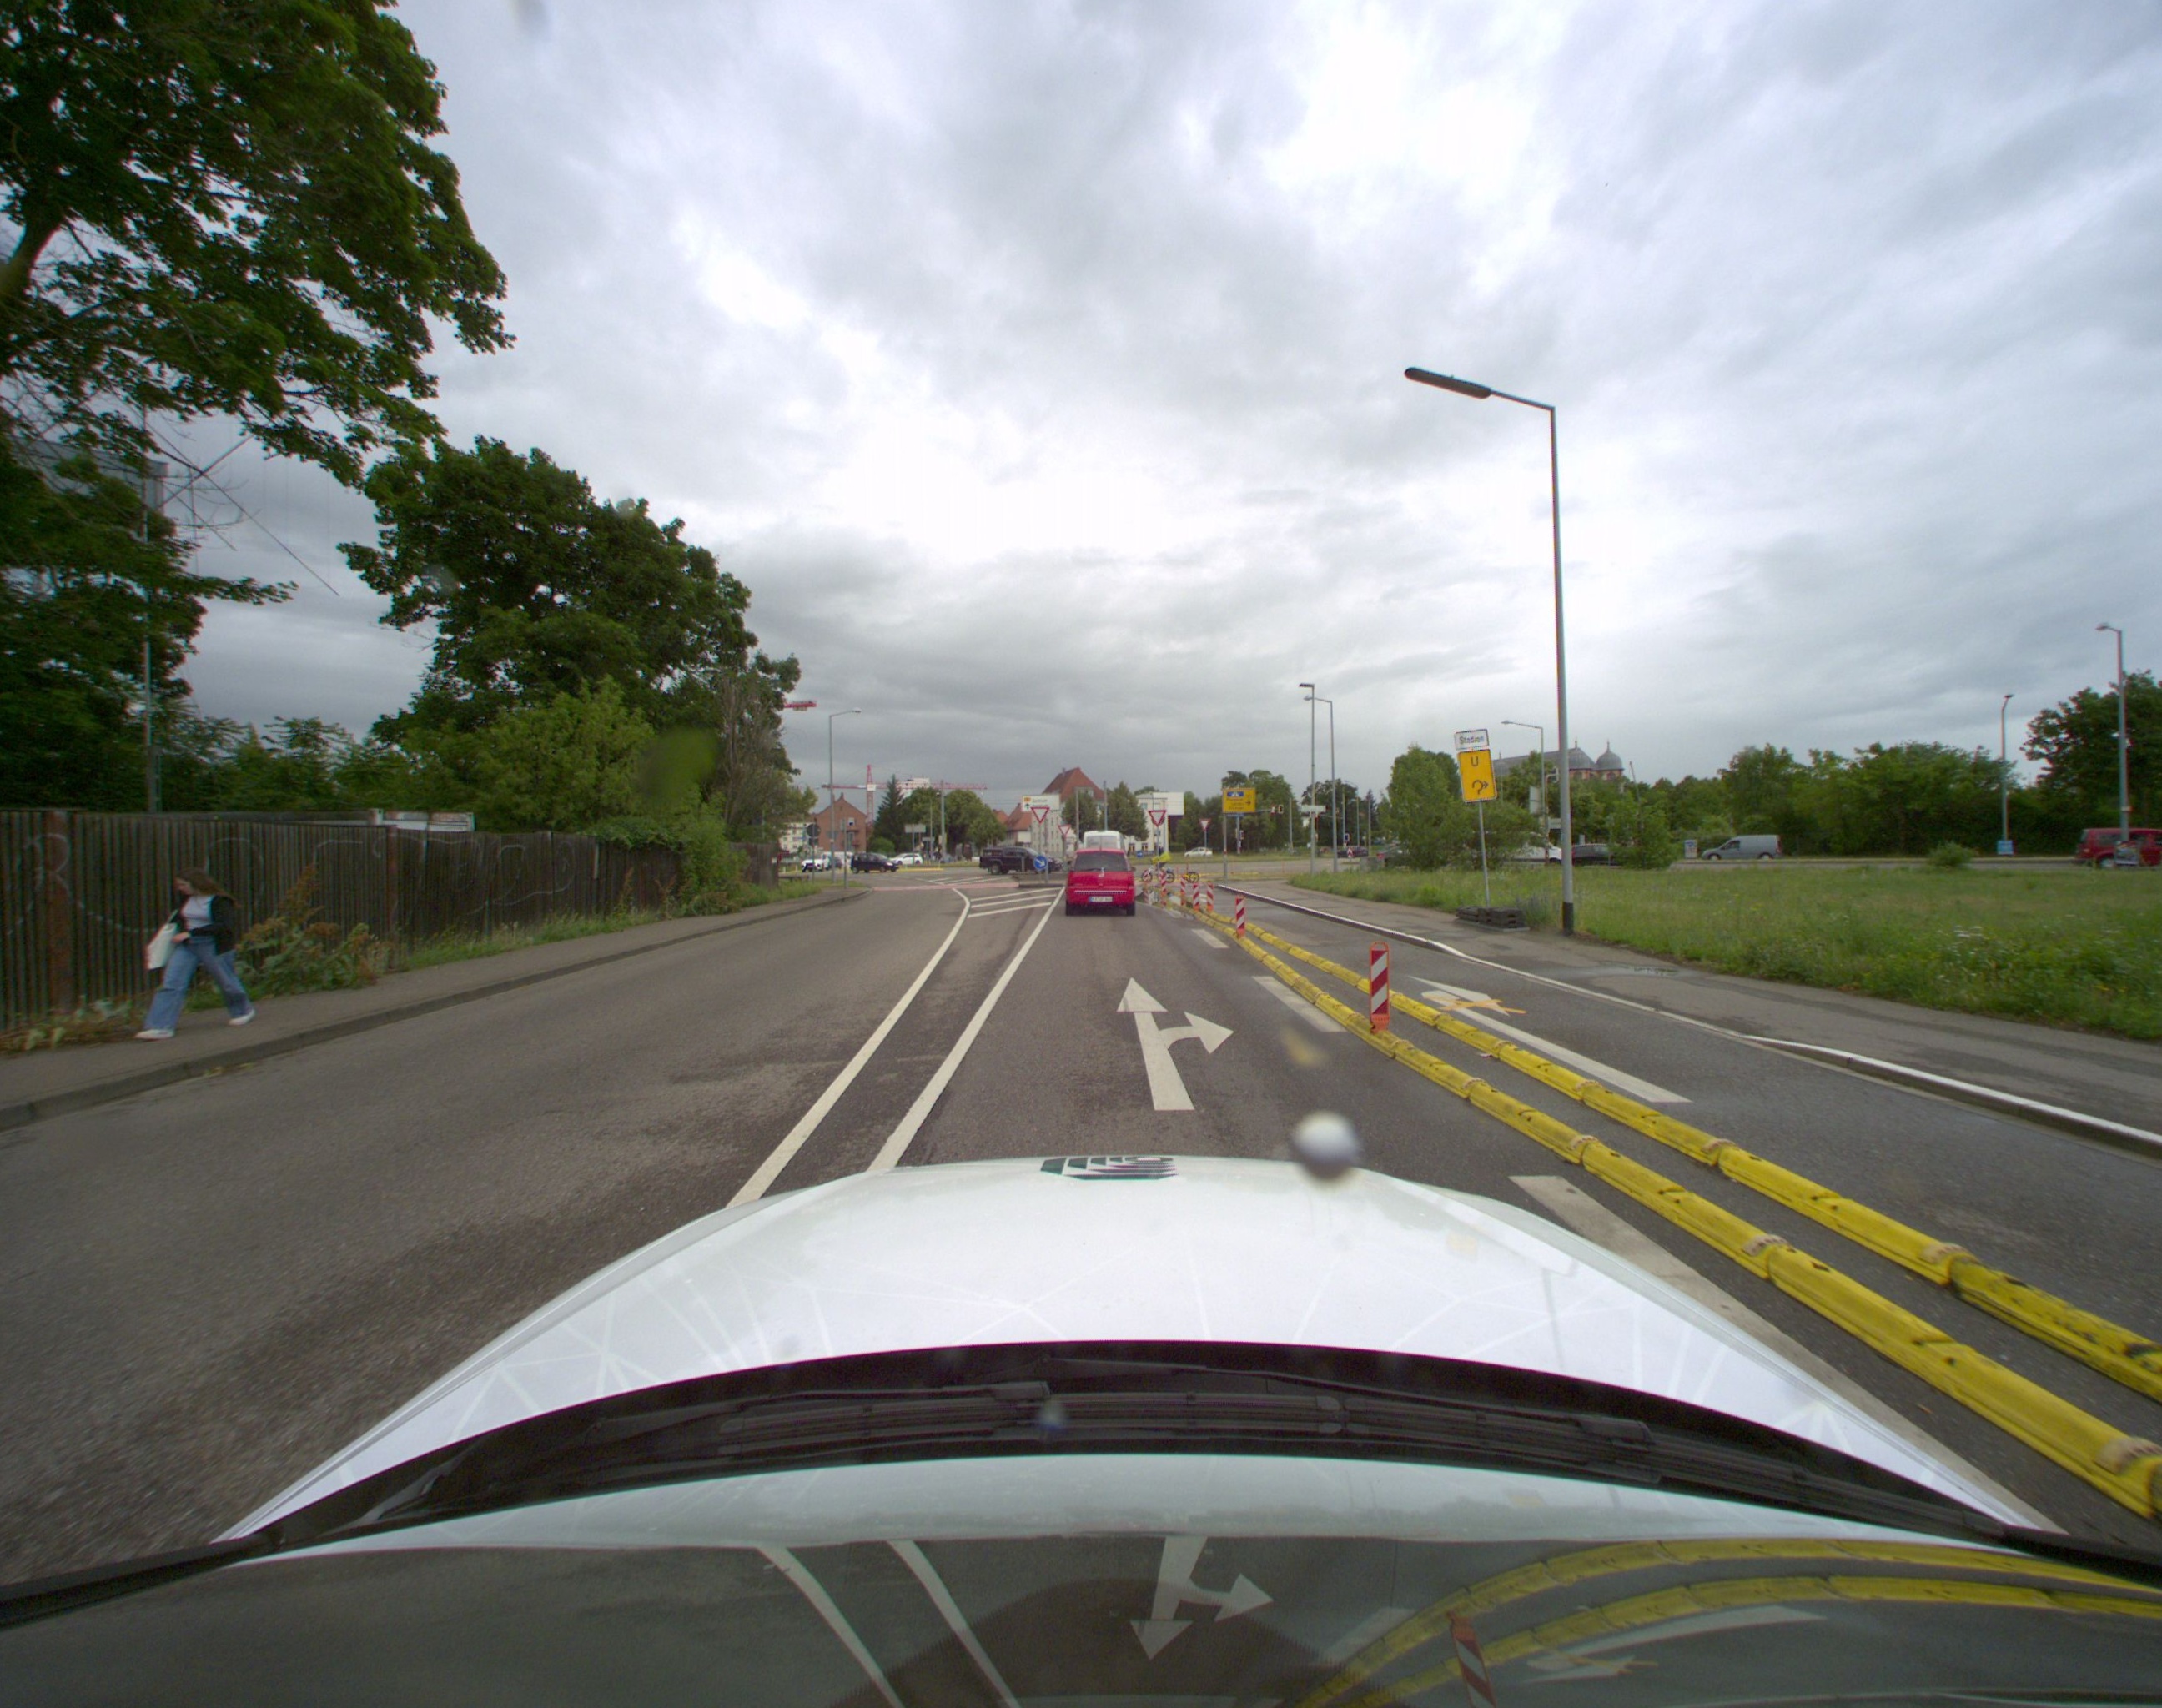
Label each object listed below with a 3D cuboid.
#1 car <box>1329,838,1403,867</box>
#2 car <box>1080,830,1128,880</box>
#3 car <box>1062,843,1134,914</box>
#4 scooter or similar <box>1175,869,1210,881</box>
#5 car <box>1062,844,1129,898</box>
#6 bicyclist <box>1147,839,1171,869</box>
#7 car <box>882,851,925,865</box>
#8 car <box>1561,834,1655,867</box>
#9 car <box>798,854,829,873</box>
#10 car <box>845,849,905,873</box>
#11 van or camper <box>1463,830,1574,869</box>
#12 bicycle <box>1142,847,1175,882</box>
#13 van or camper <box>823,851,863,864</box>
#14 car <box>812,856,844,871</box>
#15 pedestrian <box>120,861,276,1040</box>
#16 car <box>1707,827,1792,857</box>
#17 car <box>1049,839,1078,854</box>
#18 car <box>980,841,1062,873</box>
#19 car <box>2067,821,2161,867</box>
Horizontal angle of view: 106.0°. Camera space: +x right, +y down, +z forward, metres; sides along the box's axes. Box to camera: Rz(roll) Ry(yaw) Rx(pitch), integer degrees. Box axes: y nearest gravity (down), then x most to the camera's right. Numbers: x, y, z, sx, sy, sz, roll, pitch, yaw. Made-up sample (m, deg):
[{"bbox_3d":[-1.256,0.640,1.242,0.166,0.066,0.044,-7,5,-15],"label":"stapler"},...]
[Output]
[{"bbox_3d":[18.388,-0.069,52.656,4.329,1.750,2.008,-1,0,14],"label":"car"},{"bbox_3d":[1.310,0.018,43.988,2.183,2.540,4.972,0,0,7],"label":"car"},{"bbox_3d":[0.425,0.555,20.495,1.667,1.640,3.628,0,0,1],"label":"car"},{"bbox_3d":[5.312,0.990,38.783,1.600,0.504,0.925,-1,0,3],"label":"scooter or similar"},{"bbox_3d":[0.476,0.509,27.087,2.052,1.648,4.608,0,0,1],"label":"car"},{"bbox_3d":[3.715,0.011,38.865,1.057,1.401,0.615,-1,0,3],"label":"bicyclist"},{"bbox_3d":[-20.845,0.458,95.846,1.974,1.635,4.705,-1,0,37],"label":"car"},{"bbox_3d":[31.025,-0.191,48.100,4.549,1.795,2.129,-1,0,32],"label":"car"},{"bbox_3d":[-24.988,0.851,76.133,1.929,1.684,4.179,-1,0,-7],"label":"car"},{"bbox_3d":[-16.631,0.584,65.859,4.167,1.813,2.084,-1,0,11],"label":"car"},{"bbox_3d":[25.293,-0.243,47.313,5.486,2.115,2.011,-1,0,22],"label":"van or camper"},{"bbox_3d":[3.695,0.510,38.874,1.471,1.612,0.606,-1,0,2],"label":"bicycle"},{"bbox_3d":[-40.020,0.641,136.938,6.137,2.013,2.006,-1,0,11],"label":"van or camper"},{"bbox_3d":[-25.714,0.934,82.825,1.924,1.489,4.001,-1,0,1],"label":"car"},{"bbox_3d":[-8.072,0.844,7.475,0.611,1.529,0.723,-1,0,-4],"label":"pedestrian"},{"bbox_3d":[47.516,-0.841,57.962,2.011,2.013,4.423,-1,0,-44],"label":"car"},{"bbox_3d":[-2.625,-1.090,121.766,3.963,1.849,2.005,-4,-3,9],"label":"car"},{"bbox_3d":[-3.962,0.184,54.101,4.991,1.972,2.231,-1,0,12],"label":"car"},{"bbox_3d":[46.148,-0.431,35.192,4.154,1.917,2.129,-1,0,41],"label":"car"}]
